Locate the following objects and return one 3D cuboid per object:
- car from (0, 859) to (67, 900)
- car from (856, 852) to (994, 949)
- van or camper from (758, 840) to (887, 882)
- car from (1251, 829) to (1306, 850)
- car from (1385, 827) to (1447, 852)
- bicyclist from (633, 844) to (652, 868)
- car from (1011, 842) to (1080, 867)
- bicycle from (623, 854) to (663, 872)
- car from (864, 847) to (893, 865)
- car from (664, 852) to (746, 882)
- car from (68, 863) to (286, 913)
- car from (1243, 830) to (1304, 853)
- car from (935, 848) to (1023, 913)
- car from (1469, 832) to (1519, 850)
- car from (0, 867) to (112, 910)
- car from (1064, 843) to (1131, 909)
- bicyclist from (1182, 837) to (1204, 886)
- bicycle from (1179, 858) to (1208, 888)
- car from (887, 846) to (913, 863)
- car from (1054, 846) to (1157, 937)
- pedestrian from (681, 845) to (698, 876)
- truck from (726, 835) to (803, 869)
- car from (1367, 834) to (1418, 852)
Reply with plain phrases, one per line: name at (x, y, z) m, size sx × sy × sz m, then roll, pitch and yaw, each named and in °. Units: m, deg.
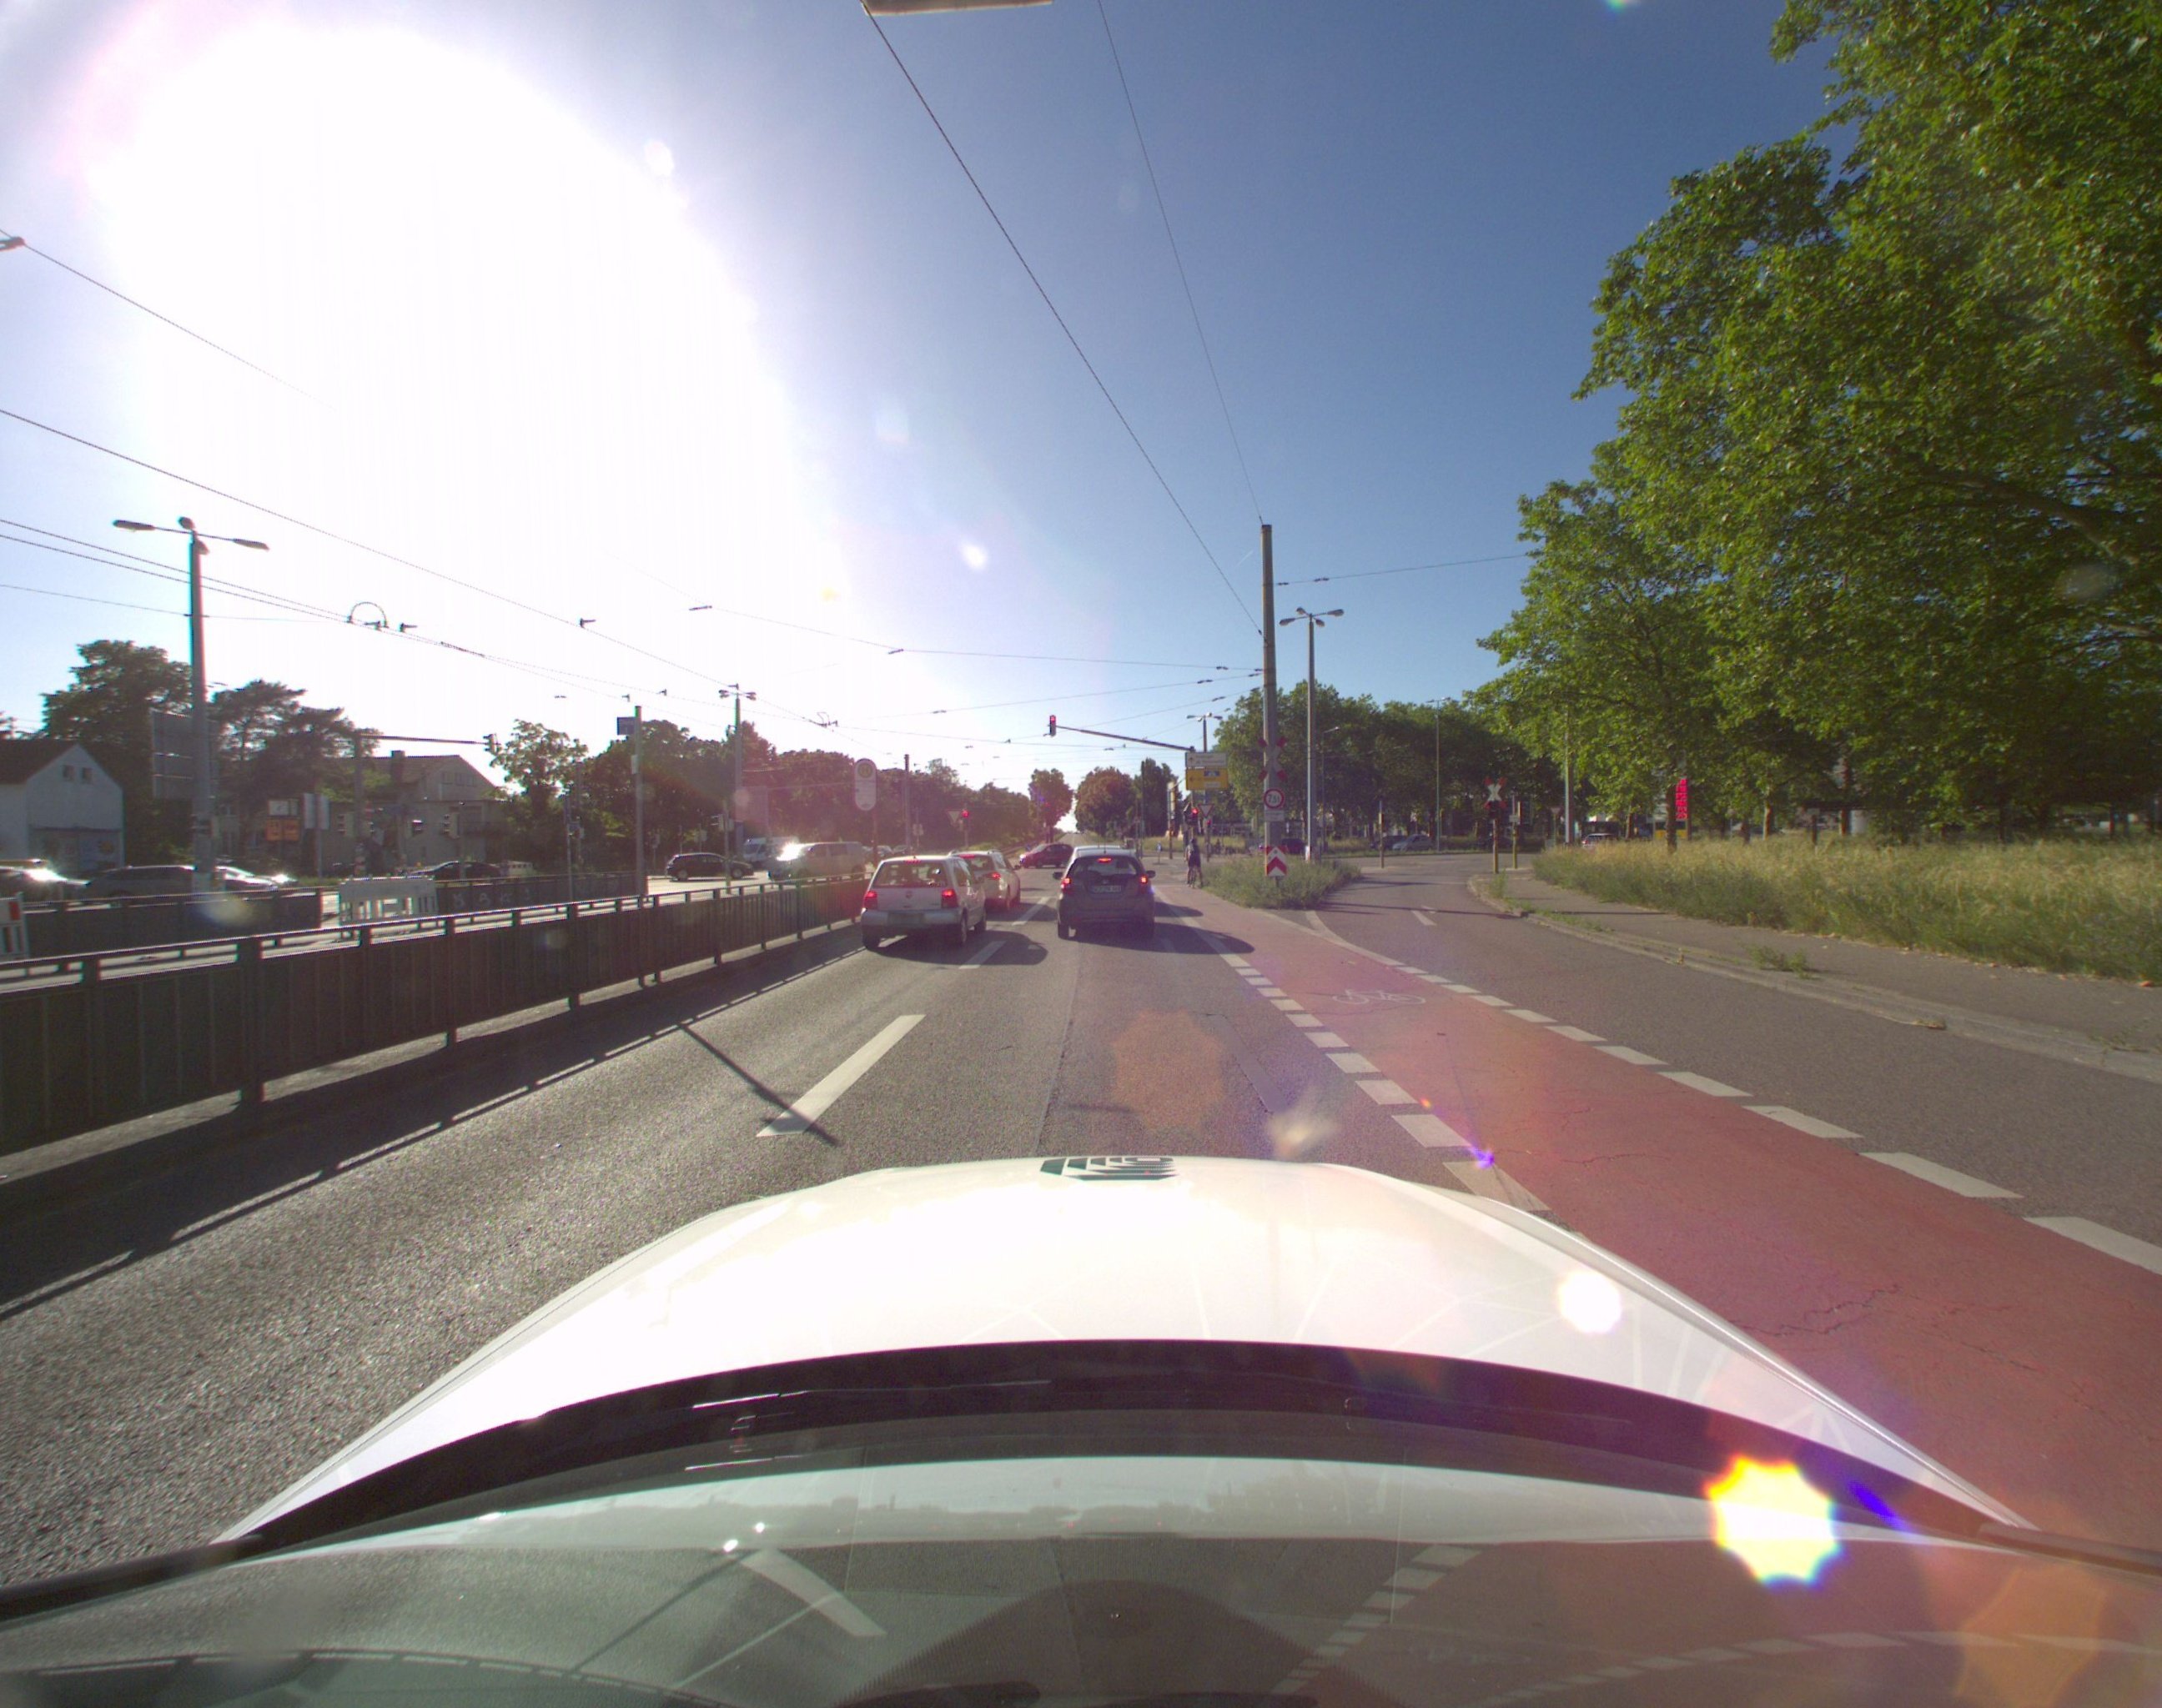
car at (-51.201, 1.167, 37.563) m, size 5.181 × 1.879 × 1.983 m, roll 0°, pitch 0°, yaw -26°
car at (-2.545, 0.706, 14.032) m, size 1.613 × 1.417 × 3.352 m, roll -2°, pitch 0°, yaw 1°
van or camper at (-12.426, 0.281, 39.677) m, size 1.974 × 1.828 × 6.026 m, roll -1°, pitch 1°, yaw 34°
car at (15.425, -1.125, 63.558) m, size 4.002 × 1.531 × 1.594 m, roll -2°, pitch 1°, yaw -21°
car at (28.641, -1.240, 69.601) m, size 4.906 × 2.013 × 1.986 m, roll -2°, pitch 1°, yaw -21°
bicyclist at (-31.657, 0.135, 58.839) m, size 1.009 × 1.647 × 0.813 m, roll -1°, pitch 0°, yaw -16°
car at (-2.171, 0.016, 50.629) m, size 4.035 × 1.402 × 1.592 m, roll -2°, pitch 1°, yaw -36°
bicycle at (-31.640, 0.659, 58.836) m, size 2.401 × 1.262 × 0.813 m, roll -1°, pitch 0°, yaw -17°
car at (-18.417, 0.202, 74.227) m, size 1.829 × 1.548 × 4.277 m, roll -2°, pitch 0°, yaw -5°
car at (-19.107, 0.662, 41.466) m, size 3.683 × 1.378 × 1.514 m, roll -2°, pitch 0°, yaw -27°
car at (-32.085, 1.151, 29.126) m, size 4.844 × 1.497 × 1.771 m, roll -2°, pitch 1°, yaw -25°
car at (16.039, -0.992, 67.896) m, size 4.705 × 1.879 × 1.986 m, roll 0°, pitch 0°, yaw -21°
car at (-2.475, 0.601, 20.639) m, size 1.613 × 1.457 × 4.086 m, roll 0°, pitch 0°, yaw 1°
car at (39.541, -1.257, 77.907) m, size 4.526 × 1.574 × 1.681 m, roll -2°, pitch 1°, yaw -21°
car at (-38.790, 1.274, 29.655) m, size 4.181 × 1.432 × 1.580 m, roll -2°, pitch 1°, yaw -25°
car at (0.456, 0.515, 21.787) m, size 1.605 × 1.562 × 4.289 m, roll -1°, pitch 0°, yaw 1°
bicyclist at (3.968, 0.250, 28.867) m, size 0.663 × 1.716 × 0.948 m, roll 0°, pitch 0°, yaw 1°
bicycle at (3.968, 0.656, 28.947) m, size 0.719 × 0.989 × 2.876 m, roll 0°, pitch 0°, yaw 1°
car at (-18.250, -0.006, 82.448) m, size 1.991 × 1.604 × 4.746 m, roll 0°, pitch 1°, yaw -6°
car at (0.395, 0.595, 15.147) m, size 1.663 × 1.461 × 3.585 m, roll -1°, pitch 0°, yaw 0°
pedestrian at (-26.106, 0.445, 54.307) m, size 0.748 × 2.013 × 0.789 m, roll -2°, pitch 0°, yaw -10°
truck at (-25.701, -0.222, 66.472) m, size 1.978 × 2.565 × 6.854 m, roll -1°, pitch 1°, yaw 17°
car at (28.013, -0.963, 73.283) m, size 3.999 × 1.578 × 1.868 m, roll 0°, pitch 0°, yaw -19°
